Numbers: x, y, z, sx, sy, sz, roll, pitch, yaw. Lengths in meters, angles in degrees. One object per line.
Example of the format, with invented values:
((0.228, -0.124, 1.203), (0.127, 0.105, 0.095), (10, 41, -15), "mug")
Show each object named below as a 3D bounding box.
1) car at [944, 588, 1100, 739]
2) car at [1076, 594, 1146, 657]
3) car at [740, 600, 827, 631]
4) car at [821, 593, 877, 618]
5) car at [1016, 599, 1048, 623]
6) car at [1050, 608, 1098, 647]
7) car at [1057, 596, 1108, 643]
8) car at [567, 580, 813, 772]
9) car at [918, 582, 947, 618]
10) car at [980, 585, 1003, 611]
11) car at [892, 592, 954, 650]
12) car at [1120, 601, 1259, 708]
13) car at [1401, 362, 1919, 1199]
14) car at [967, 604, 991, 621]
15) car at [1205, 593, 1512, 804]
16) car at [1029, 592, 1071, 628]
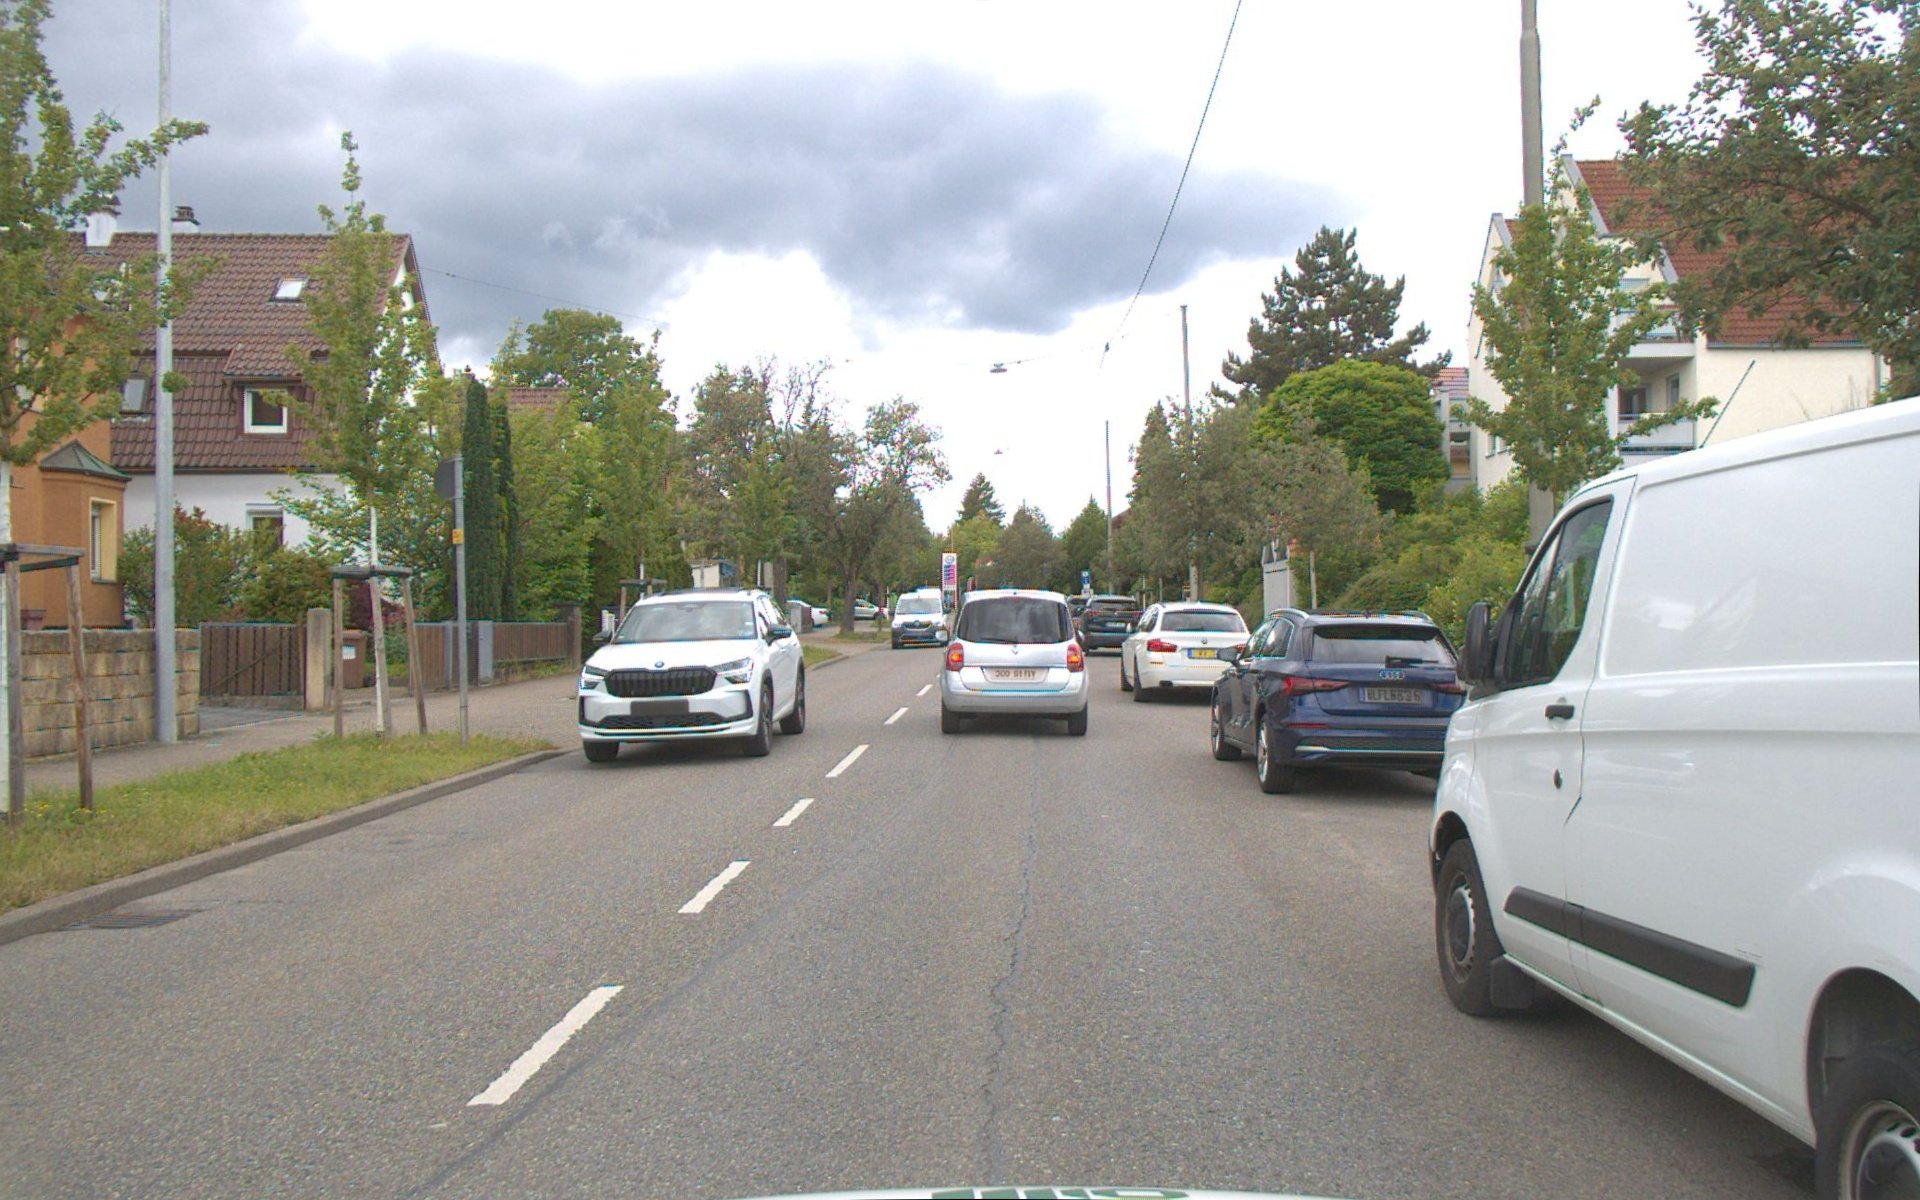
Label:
((0.710, 0.682, 19.345), (1.644, 1.587, 3.512), (1, 0, 2), "car")
((4.136, 0.668, 45.767), (1.653, 1.637, 4.110), (1, 0, 2), "car")
((-8.649, 0.764, 81.306), (4.195, 1.392, 1.814), (1, -1, -5), "car")
((-7.969, 0.369, 119.096), (4.006, 1.736, 1.746), (1, 0, -4), "car")
((4.467, 0.680, 102.839), (1.595, 1.477, 3.873), (0, 0, -4), "car")
((3.924, 0.923, 57.196), (1.450, 1.257, 3.885), (1, 0, 1), "car")
((4.700, 0.736, 64.041), (1.792, 1.742, 4.550), (0, 0, 2), "car")
((-2.709, 0.708, 17.629), (1.776, 1.722, 4.466), (-2, 0, 1), "car")
((-2.120, -0.017, 128.681), (2.031, 2.627, 5.300), (-3, 0, 0), "car")
((3.687, -0.209, 195.166), (2.236, 2.962, 5.274), (1, 0, -4), "car")
((-1.187, 0.648, 54.570), (1.758, 1.782, 4.299), (-2, 0, 2), "car")
((3.465, 0.773, 25.668), (1.658, 1.479, 4.405), (1, 0, 2), "car")
((2.735, 0.530, 4.681), (1.738, 1.977, 4.789), (0, 0, 1), "car")
((1.693, 1.101, 149.751), (1.663, 1.532, 3.966), (0, 0, -7), "car")
((3.243, 0.716, 14.274), (1.631, 1.542, 4.220), (0, 0, 0), "car")
((4.763, 0.519, 87.700), (1.763, 1.809, 4.703), (1, 0, -2), "car")
